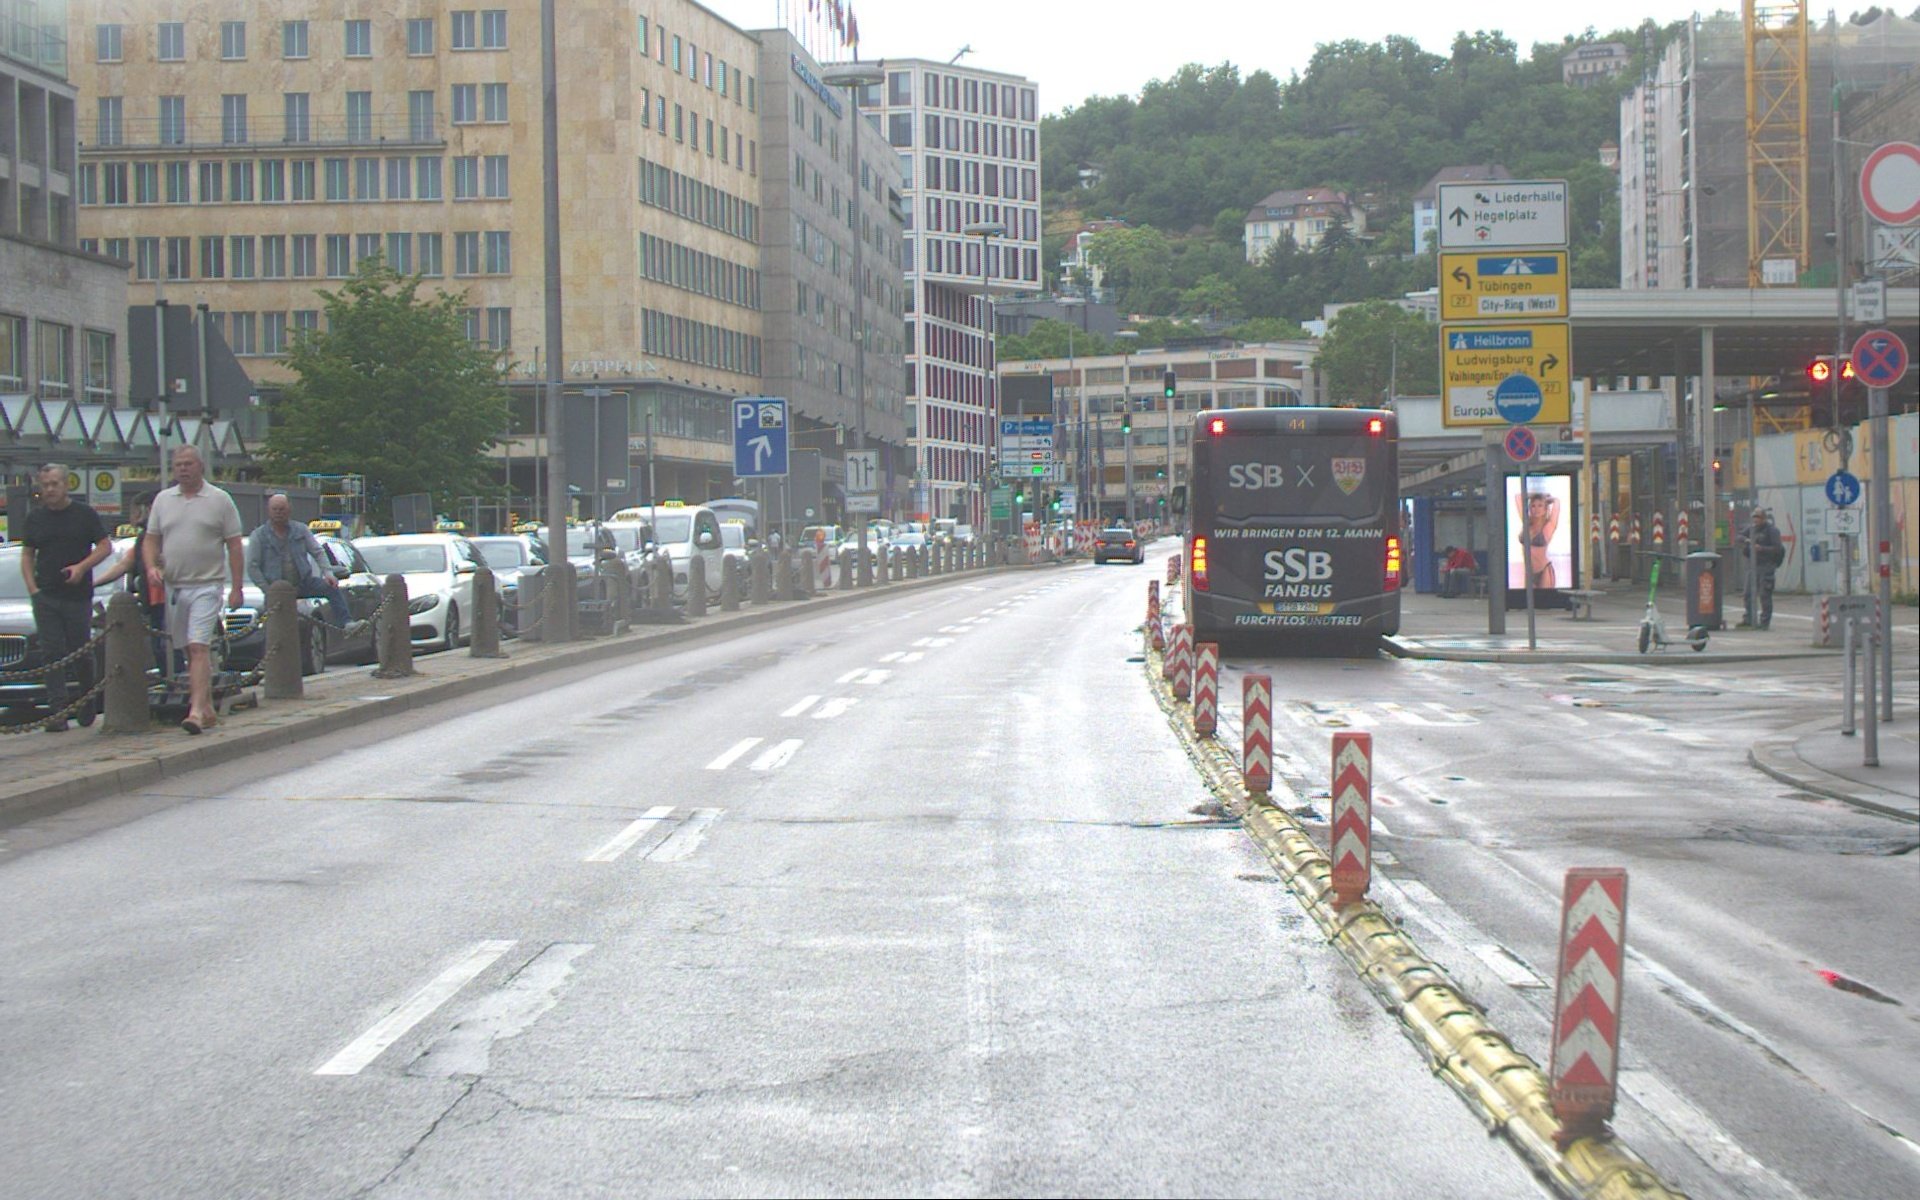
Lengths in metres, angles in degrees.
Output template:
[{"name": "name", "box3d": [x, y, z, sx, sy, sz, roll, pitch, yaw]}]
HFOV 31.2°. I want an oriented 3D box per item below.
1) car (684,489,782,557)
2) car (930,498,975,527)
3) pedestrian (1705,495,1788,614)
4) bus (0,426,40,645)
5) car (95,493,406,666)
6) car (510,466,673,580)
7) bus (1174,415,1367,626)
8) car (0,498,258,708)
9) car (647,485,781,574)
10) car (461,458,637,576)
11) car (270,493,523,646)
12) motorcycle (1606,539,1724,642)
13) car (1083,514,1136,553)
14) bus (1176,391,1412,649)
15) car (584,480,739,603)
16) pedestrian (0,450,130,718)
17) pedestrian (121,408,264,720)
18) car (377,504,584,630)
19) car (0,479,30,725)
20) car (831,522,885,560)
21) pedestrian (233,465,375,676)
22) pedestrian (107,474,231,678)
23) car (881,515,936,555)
[{"name": "car", "box3d": [-5.411, -1.840, 82.433, 1.993, 1.546, 4.000, -1, 1, 1]}, {"name": "car", "box3d": [-0.435, -5.039, 197.969, 1.994, 1.611, 4.977, -1, 1, 7]}, {"name": "pedestrian", "box3d": [10.917, -0.639, 47.706, 0.908, 1.629, 0.827, 0, 1, 31]}, {"name": "bus", "box3d": [-16.760, -0.922, 50.828, 2.877, 3.447, 10.574, 0, 2, 3]}, {"name": "car", "box3d": [-7.135, -0.246, 35.132, 1.930, 1.571, 5.012, -2, 1, 2]}, {"name": "car", "box3d": [-6.225, -1.309, 58.562, 1.930, 1.800, 4.582, -2, 1, 4]}, {"name": "bus", "box3d": [4.817, -1.255, 54.784, 2.755, 3.055, 8.992, 1, 1, 3]}, {"name": "car", "box3d": [-7.487, -0.009, 28.727, 1.930, 1.571, 5.261, -2, 1, 2]}, {"name": "car", "box3d": [-4.949, -1.442, 69.911, 1.994, 1.716, 4.781, -1, 2, 5]}, {"name": "car", "box3d": [-6.335, -1.278, 53.527, 1.930, 1.693, 4.885, -2, 1, 2]}, {"name": "car", "box3d": [-6.699, -0.397, 41.466, 1.976, 1.653, 5.192, -2, 1, 2]}, {"name": "motorcycle", "box3d": [8.208, -0.118, 39.984, 0.586, 1.162, 1.613, 2, 1, 42]}, {"name": "car", "box3d": [6.134, -2.734, 140.613, 1.994, 1.546, 4.000, -1, 1, 5]}, {"name": "bus", "box3d": [4.286, -1.052, 45.744, 2.755, 3.058, 9.079, 1, 1, 3]}, {"name": "car", "box3d": [-5.514, -1.115, 64.200, 1.994, 2.171, 5.544, -1, 2, 4]}, {"name": "pedestrian", "box3d": [-5.969, -0.114, 22.803, 0.698, 1.748, 0.711, 0, 2, 3]}, {"name": "pedestrian", "box3d": [-5.010, -0.242, 22.462, 0.723, 2.001, 0.772, 1, 2, 3]}, {"name": "car", "box3d": [-6.515, -0.482, 47.253, 1.930, 1.571, 5.052, -2, 1, 2]}, {"name": "car", "box3d": [-7.616, 0.081, 21.830, 1.930, 1.684, 4.682, -2, 1, 2]}, {"name": "car", "box3d": [-4.658, -2.726, 157.743, 1.962, 1.559, 4.835, -3, 2, 3]}, {"name": "pedestrian", "box3d": [-5.558, -0.254, 29.162, 1.050, 1.762, 0.616, 0, 1, 2]}, {"name": "pedestrian", "box3d": [-6.368, -0.206, 27.708, 0.723, 1.601, 0.996, 1, 2, 3]}, {"name": "car", "box3d": [-2.217, -2.847, 149.896, 1.962, 1.559, 4.835, -3, 2, 3]}]
